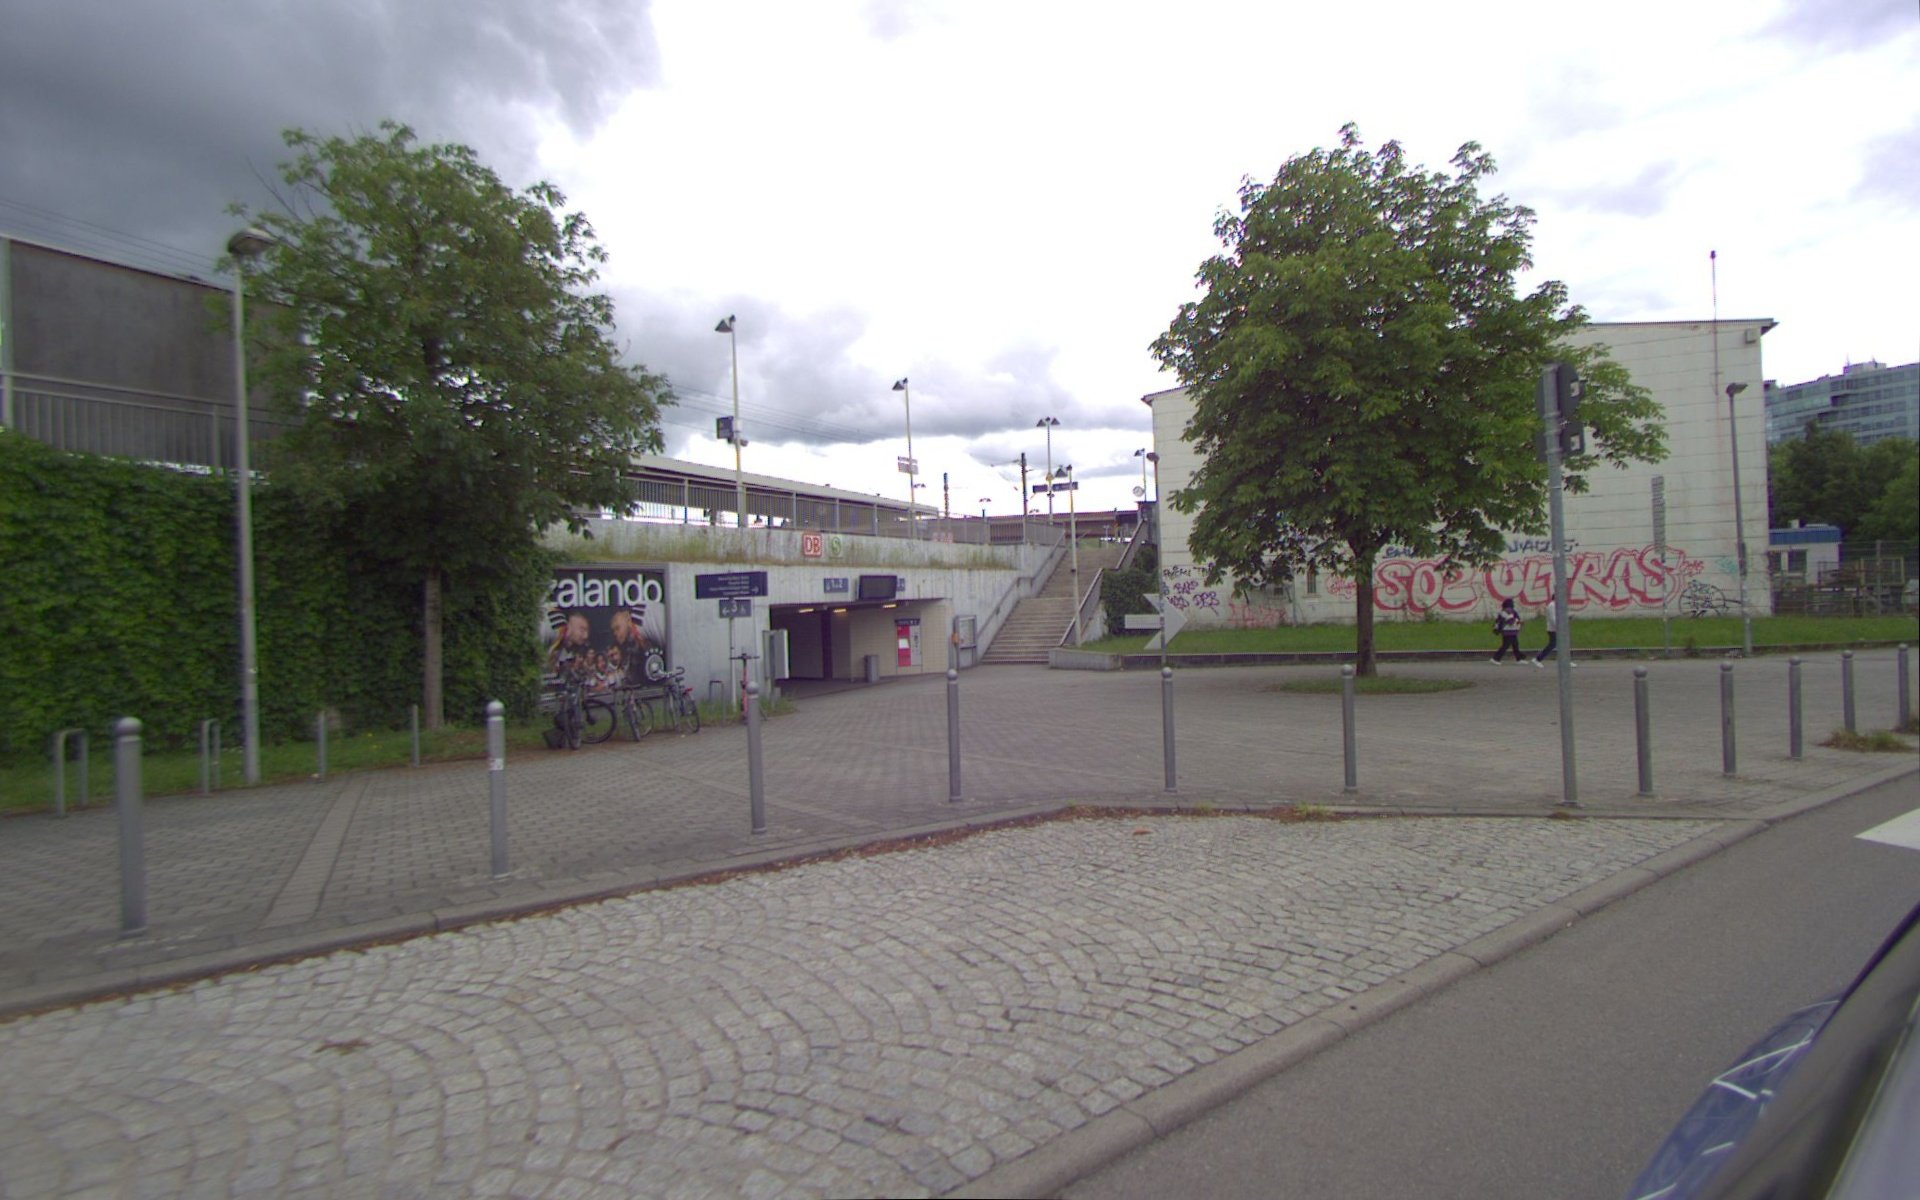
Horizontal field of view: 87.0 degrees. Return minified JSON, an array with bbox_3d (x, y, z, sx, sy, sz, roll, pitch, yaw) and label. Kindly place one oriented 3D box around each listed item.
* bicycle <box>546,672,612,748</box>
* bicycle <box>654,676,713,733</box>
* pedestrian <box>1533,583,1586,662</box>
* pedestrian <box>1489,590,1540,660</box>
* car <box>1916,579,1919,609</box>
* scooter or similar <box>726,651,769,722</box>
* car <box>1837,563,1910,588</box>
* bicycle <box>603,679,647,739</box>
[{"bbox_3d":[-5.613,1.596,14.978,0.680,1.002,1.494,-1,-2,-11],"label":"bicycle"},{"bbox_3d":[-4.659,1.722,16.990,0.500,0.876,1.973,0,-4,-29],"label":"bicycle"},{"bbox_3d":[13.492,0.502,22.790,0.737,1.724,0.814,-2,0,11],"label":"pedestrian"},{"bbox_3d":[13.201,0.582,24.103,0.789,1.603,0.800,-2,0,11],"label":"pedestrian"},{"bbox_3d":[45.656,-0.267,46.174,1.788,1.394,3.766,-1,1,25],"label":"car"},{"bbox_3d":[-3.903,1.562,18.527,0.458,1.222,1.192,-1,-3,-25],"label":"scooter or similar"},{"bbox_3d":[50.950,-1.355,56.535,1.508,1.348,3.666,1,1,15],"label":"car"},{"bbox_3d":[-5.355,1.710,16.132,0.454,0.865,1.582,0,-3,-25],"label":"bicycle"}]
